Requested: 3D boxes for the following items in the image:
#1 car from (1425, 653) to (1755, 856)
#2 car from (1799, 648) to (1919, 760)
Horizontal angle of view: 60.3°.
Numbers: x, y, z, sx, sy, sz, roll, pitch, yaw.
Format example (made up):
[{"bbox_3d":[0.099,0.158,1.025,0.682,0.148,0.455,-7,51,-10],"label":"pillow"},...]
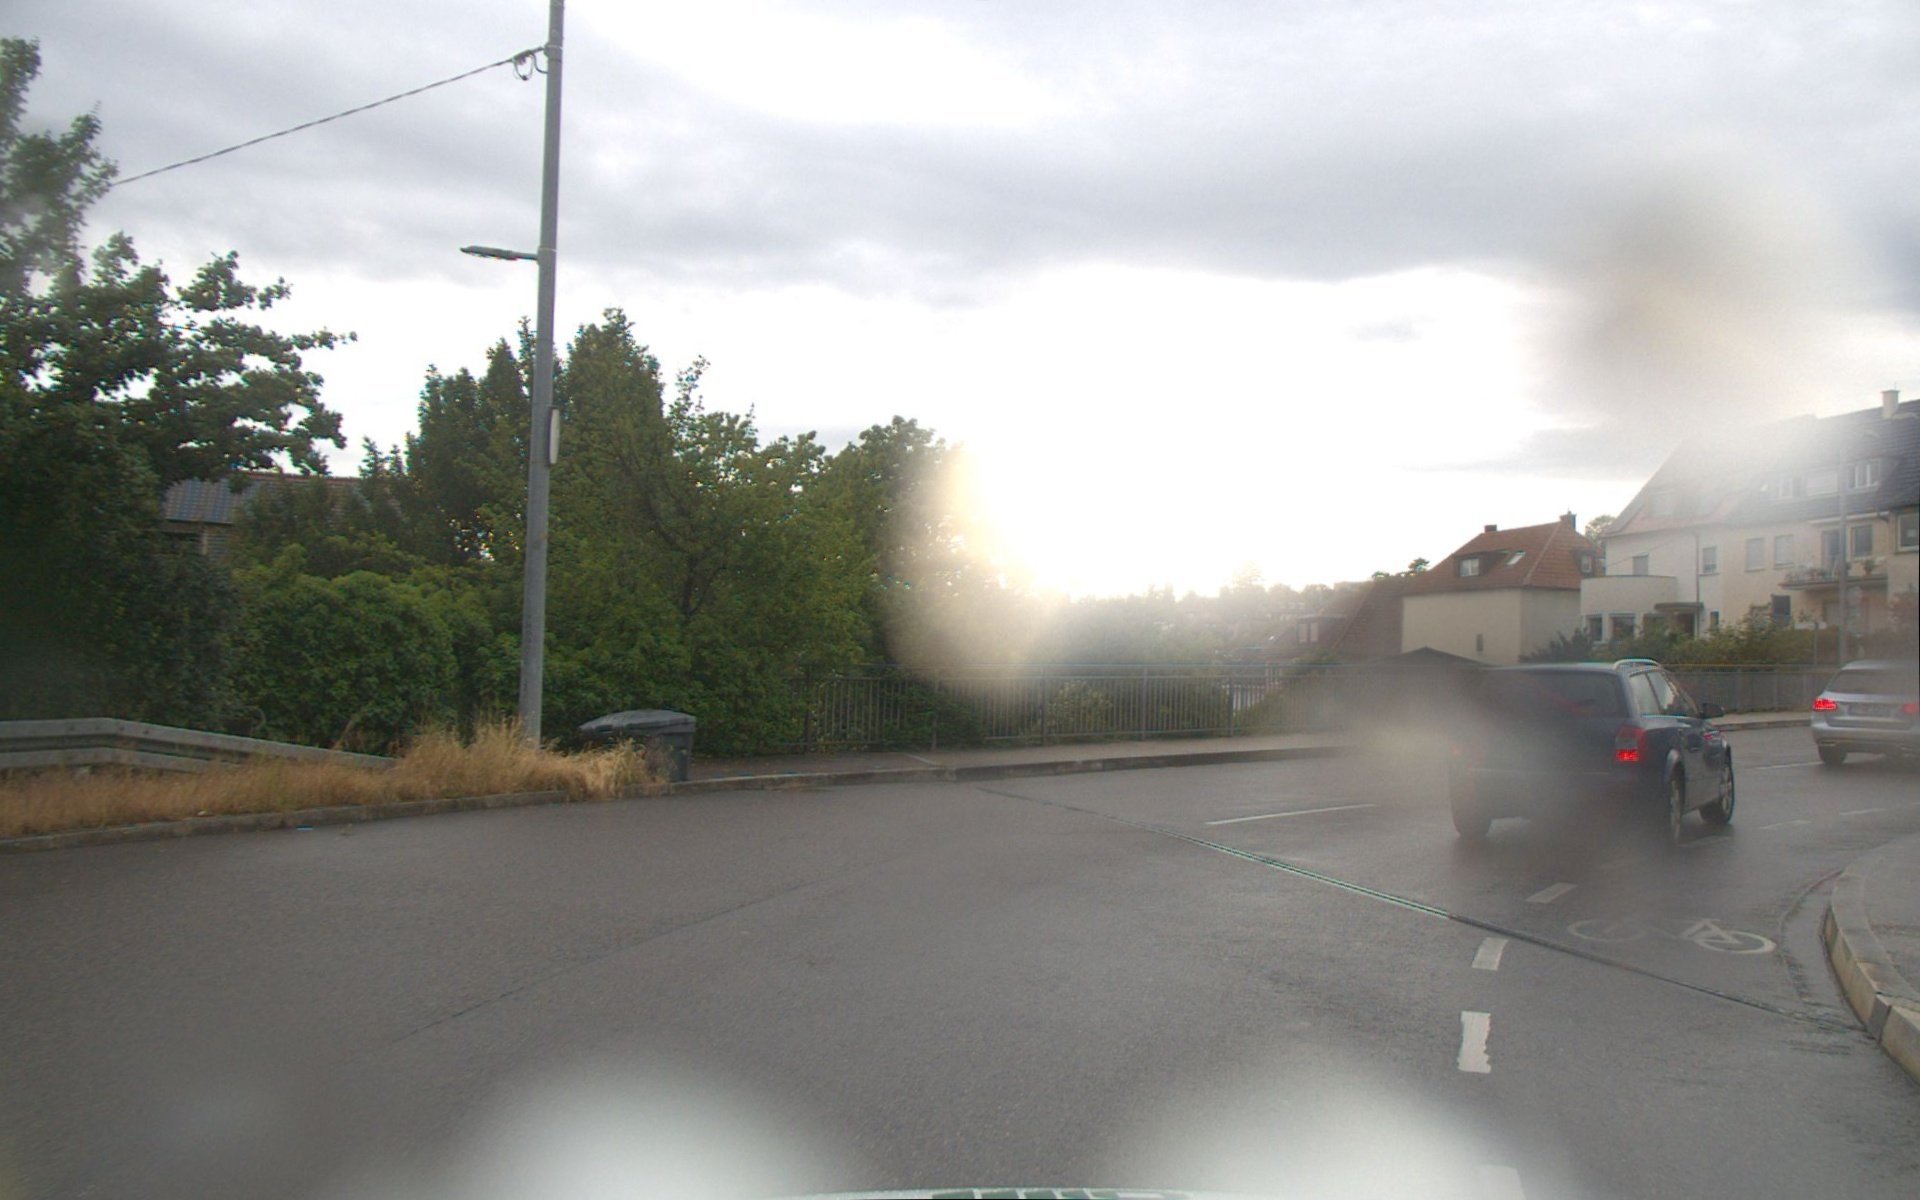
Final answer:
[{"bbox_3d":[5.473,1.211,14.073,1.717,1.432,3.985,0,-3,35],"label":"car"},{"bbox_3d":[13.641,1.464,23.549,3.970,1.413,1.866,3,-1,-45],"label":"car"}]
